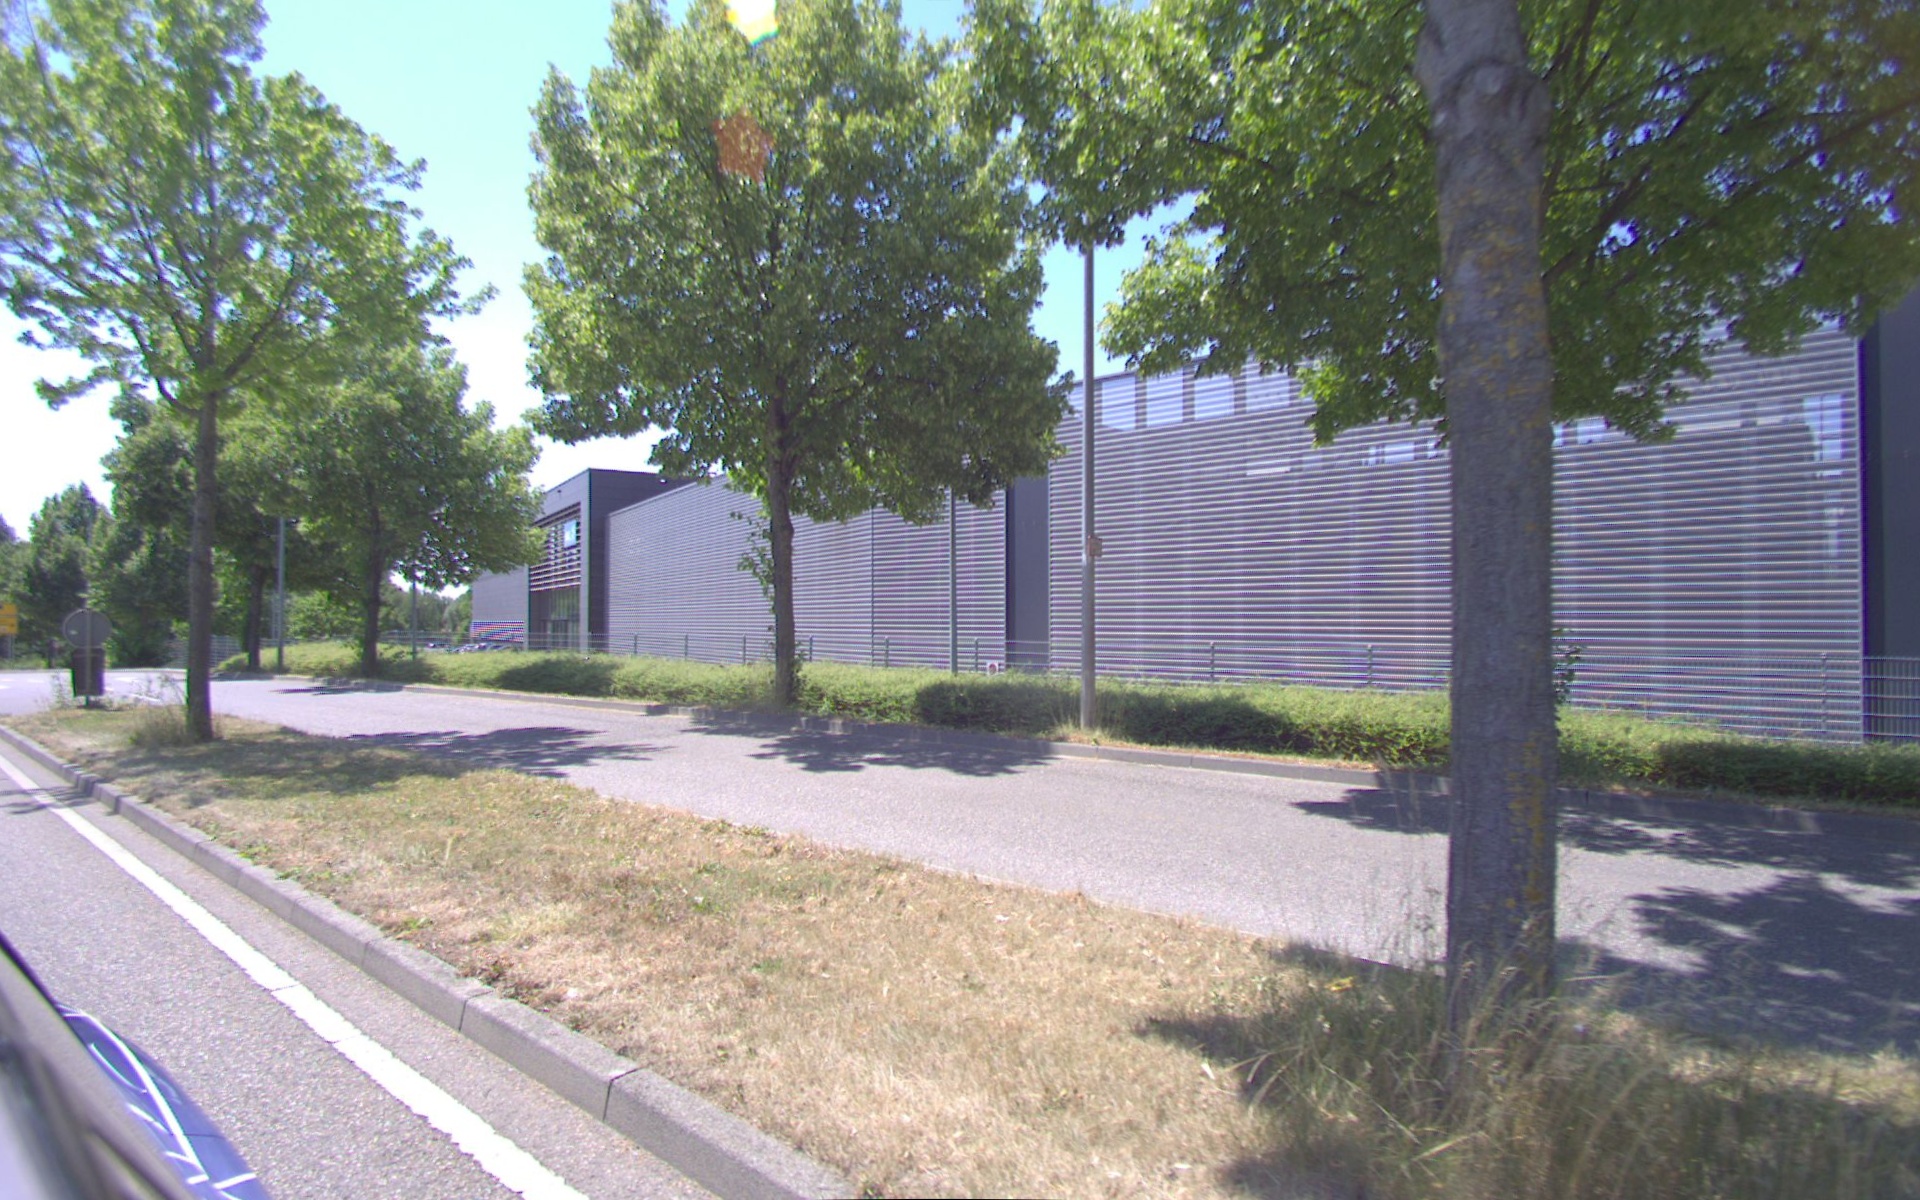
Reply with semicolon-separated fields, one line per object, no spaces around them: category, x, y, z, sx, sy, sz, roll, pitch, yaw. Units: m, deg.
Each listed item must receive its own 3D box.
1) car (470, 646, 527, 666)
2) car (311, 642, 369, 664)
car;-37.535;4.570;82.351;3.935;1.497;2.004;2;-5;-37
car;-52.005;4.446;84.864;3.935;1.719;2.004;2;-5;-37
